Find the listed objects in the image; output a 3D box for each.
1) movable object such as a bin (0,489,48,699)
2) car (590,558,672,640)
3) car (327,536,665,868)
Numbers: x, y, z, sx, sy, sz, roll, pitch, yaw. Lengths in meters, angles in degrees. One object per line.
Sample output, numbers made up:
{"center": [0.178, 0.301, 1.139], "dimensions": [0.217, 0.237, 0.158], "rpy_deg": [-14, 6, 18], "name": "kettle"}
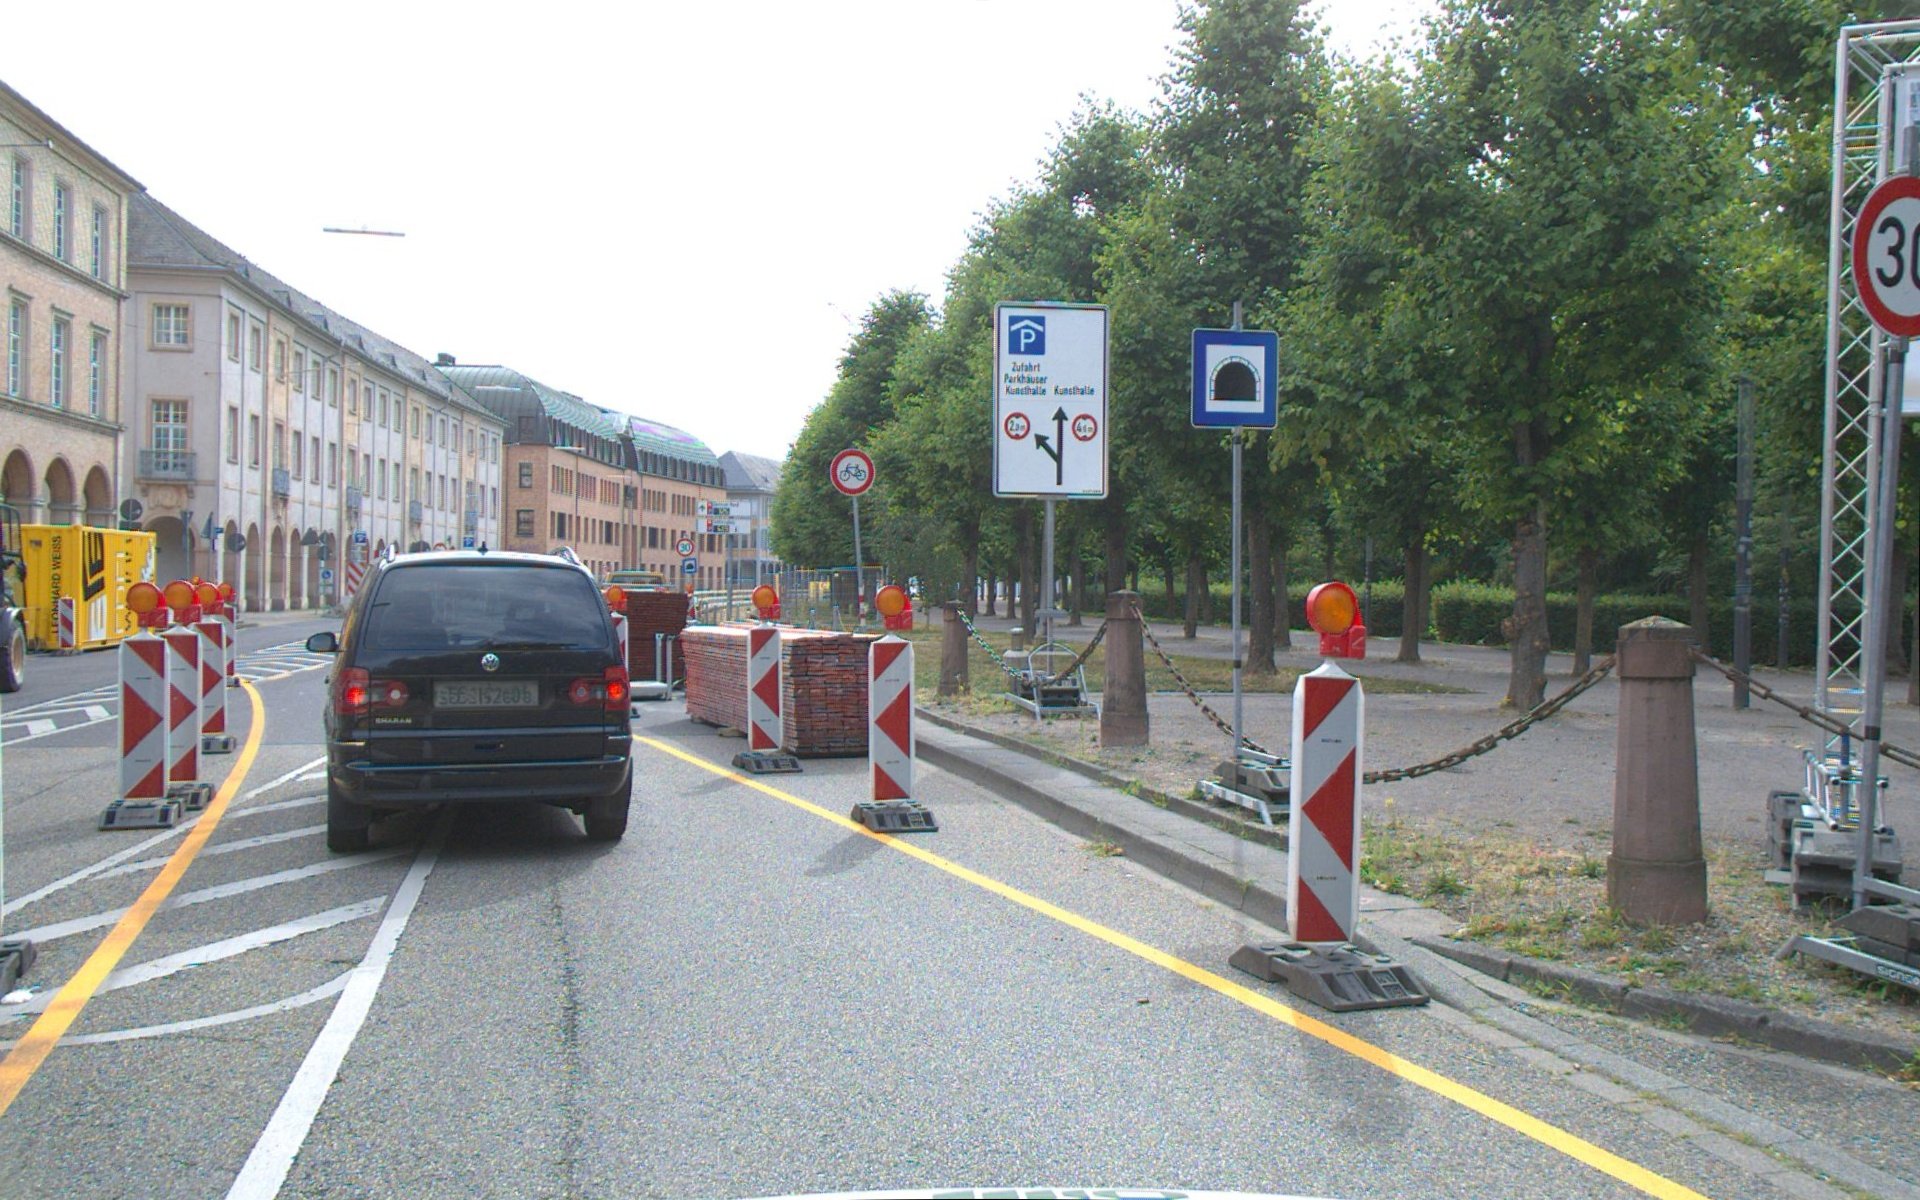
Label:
{"center": [-13.740, -0.083, 21.802], "dimensions": [2.082, 2.766, 4.597], "rpy_deg": [0, 0, -17], "name": "movable object such as a bin"}
{"center": [-9.002, -0.079, 45.039], "dimensions": [1.960, 2.048, 4.329], "rpy_deg": [1, 2, -14], "name": "car"}
{"center": [-3.212, 0.513, 10.903], "dimensions": [1.768, 1.738, 4.105], "rpy_deg": [0, 0, -21], "name": "car"}
